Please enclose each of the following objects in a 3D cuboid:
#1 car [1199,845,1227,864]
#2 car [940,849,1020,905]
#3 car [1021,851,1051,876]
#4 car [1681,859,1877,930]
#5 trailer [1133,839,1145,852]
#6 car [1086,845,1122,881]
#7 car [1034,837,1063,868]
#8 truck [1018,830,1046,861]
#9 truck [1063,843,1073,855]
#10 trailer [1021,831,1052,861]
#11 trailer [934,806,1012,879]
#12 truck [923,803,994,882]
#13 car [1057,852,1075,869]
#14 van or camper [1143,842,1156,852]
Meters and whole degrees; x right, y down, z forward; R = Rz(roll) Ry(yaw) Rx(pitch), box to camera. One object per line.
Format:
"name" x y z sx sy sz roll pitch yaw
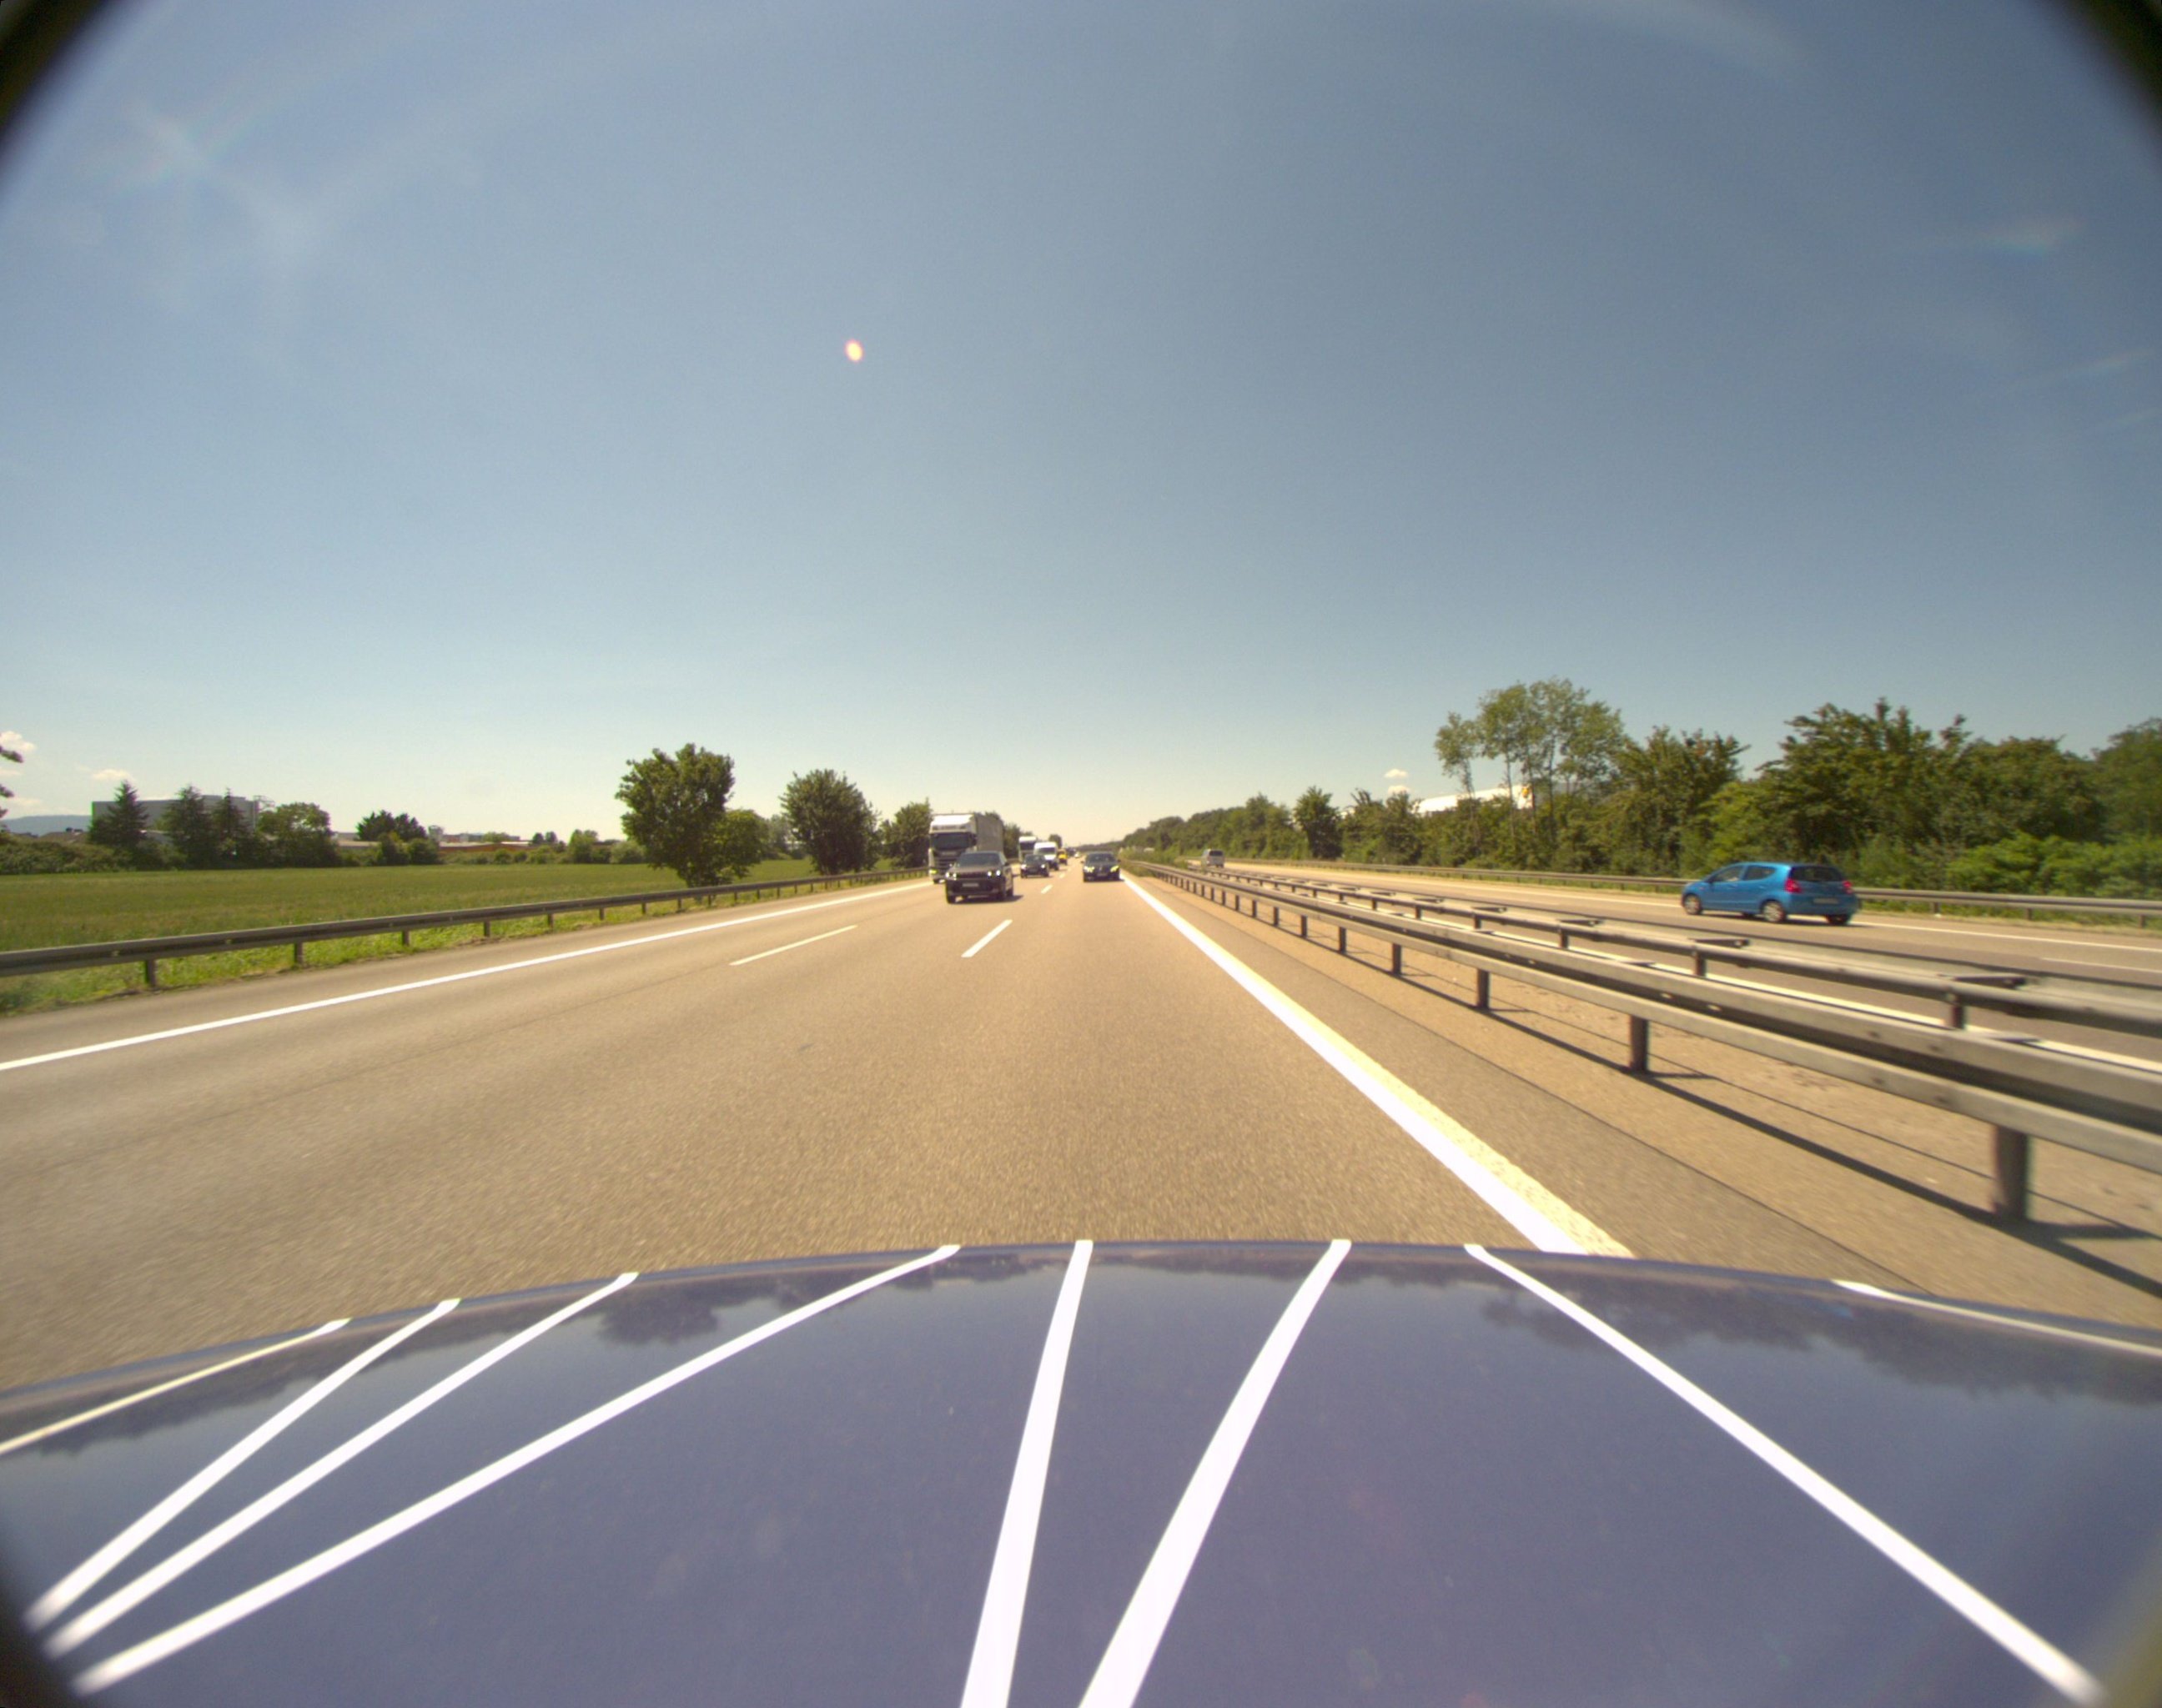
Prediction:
"car" 14.047 0.011 81.135 2.046 1.913 5.226 1 0 0
"car" -3.343 0.714 26.095 1.871 1.665 4.746 -2 0 2
"car" -2.805 0.596 48.458 1.692 1.465 3.432 -2 0 0
"car" 16.767 0.901 18.490 1.568 1.416 3.471 1 2 1
"trailer" 19.792 -2.941 261.237 2.985 4.188 13.729 0 2 -1
"car" 1.167 0.430 38.538 1.690 1.646 3.462 -2 1 2
"car" -2.762 -0.120 66.098 2.159 2.494 5.945 -2 1 0
"truck" -6.639 -1.124 103.816 2.699 3.943 7.705 -2 0 3
"truck" -4.247 -1.693 250.944 2.976 3.626 7.148 -2 1 -2
"trailer" -6.267 -1.156 109.990 2.699 3.943 13.963 -2 0 3
"trailer" -7.110 -0.732 52.763 2.816 4.279 14.254 -2 0 2
"truck" -7.284 -0.677 46.309 2.816 4.279 7.193 -2 1 2
"car" -1.778 0.746 91.441 1.958 1.939 3.999 -2 1 0
"van or camper" 19.585 -1.988 217.764 2.857 2.952 7.446 1 1 1
